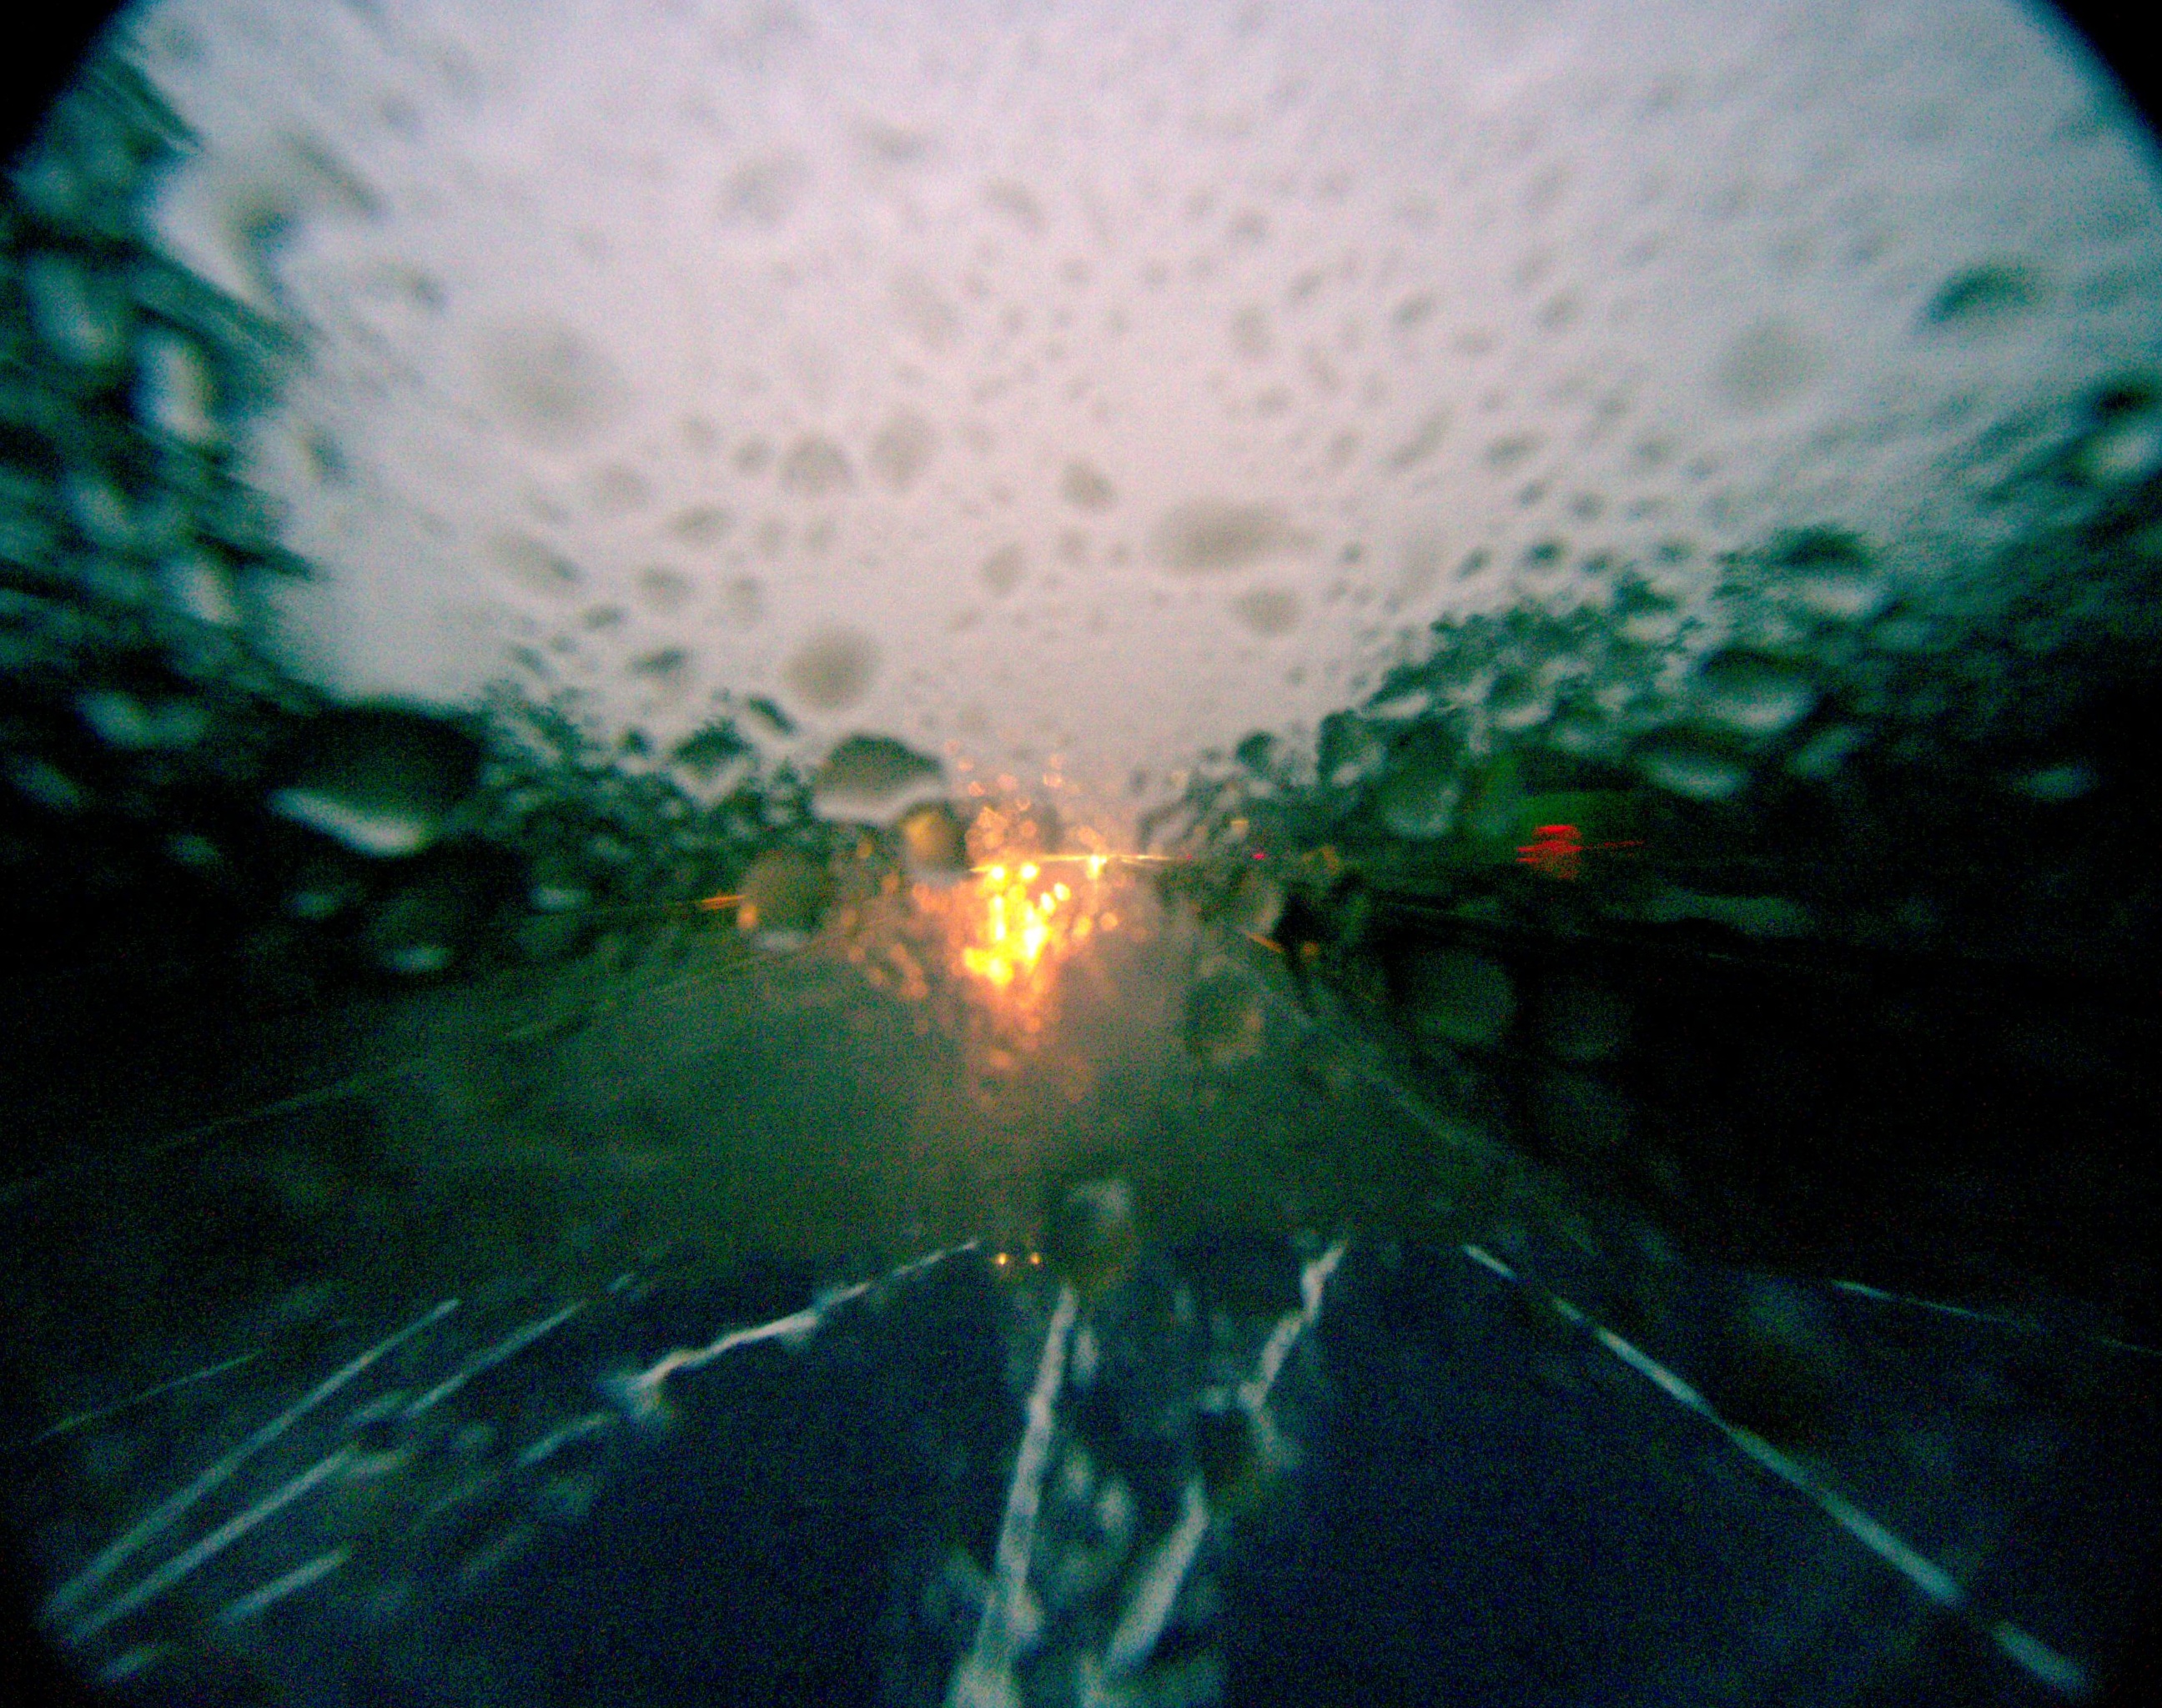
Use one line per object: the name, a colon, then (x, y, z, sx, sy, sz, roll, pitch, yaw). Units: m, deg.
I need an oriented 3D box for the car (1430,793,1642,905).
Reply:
car: (12.055, -0.130, 20.883, 2.008, 2.553, 6.376, -2, 0, 1)

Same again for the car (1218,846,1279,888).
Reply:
car: (7.730, 0.573, 35.455, 1.909, 1.696, 4.000, -4, 0, 1)

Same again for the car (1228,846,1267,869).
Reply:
car: (12.955, 0.270, 59.424, 1.881, 1.685, 5.449, -2, 0, 1)

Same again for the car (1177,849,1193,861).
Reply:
car: (13.875, 0.116, 101.535, 1.647, 1.471, 3.648, -2, 0, 1)

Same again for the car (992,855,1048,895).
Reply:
car: (-2.850, 0.951, 36.364, 2.075, 1.688, 4.461, -2, 0, 2)
